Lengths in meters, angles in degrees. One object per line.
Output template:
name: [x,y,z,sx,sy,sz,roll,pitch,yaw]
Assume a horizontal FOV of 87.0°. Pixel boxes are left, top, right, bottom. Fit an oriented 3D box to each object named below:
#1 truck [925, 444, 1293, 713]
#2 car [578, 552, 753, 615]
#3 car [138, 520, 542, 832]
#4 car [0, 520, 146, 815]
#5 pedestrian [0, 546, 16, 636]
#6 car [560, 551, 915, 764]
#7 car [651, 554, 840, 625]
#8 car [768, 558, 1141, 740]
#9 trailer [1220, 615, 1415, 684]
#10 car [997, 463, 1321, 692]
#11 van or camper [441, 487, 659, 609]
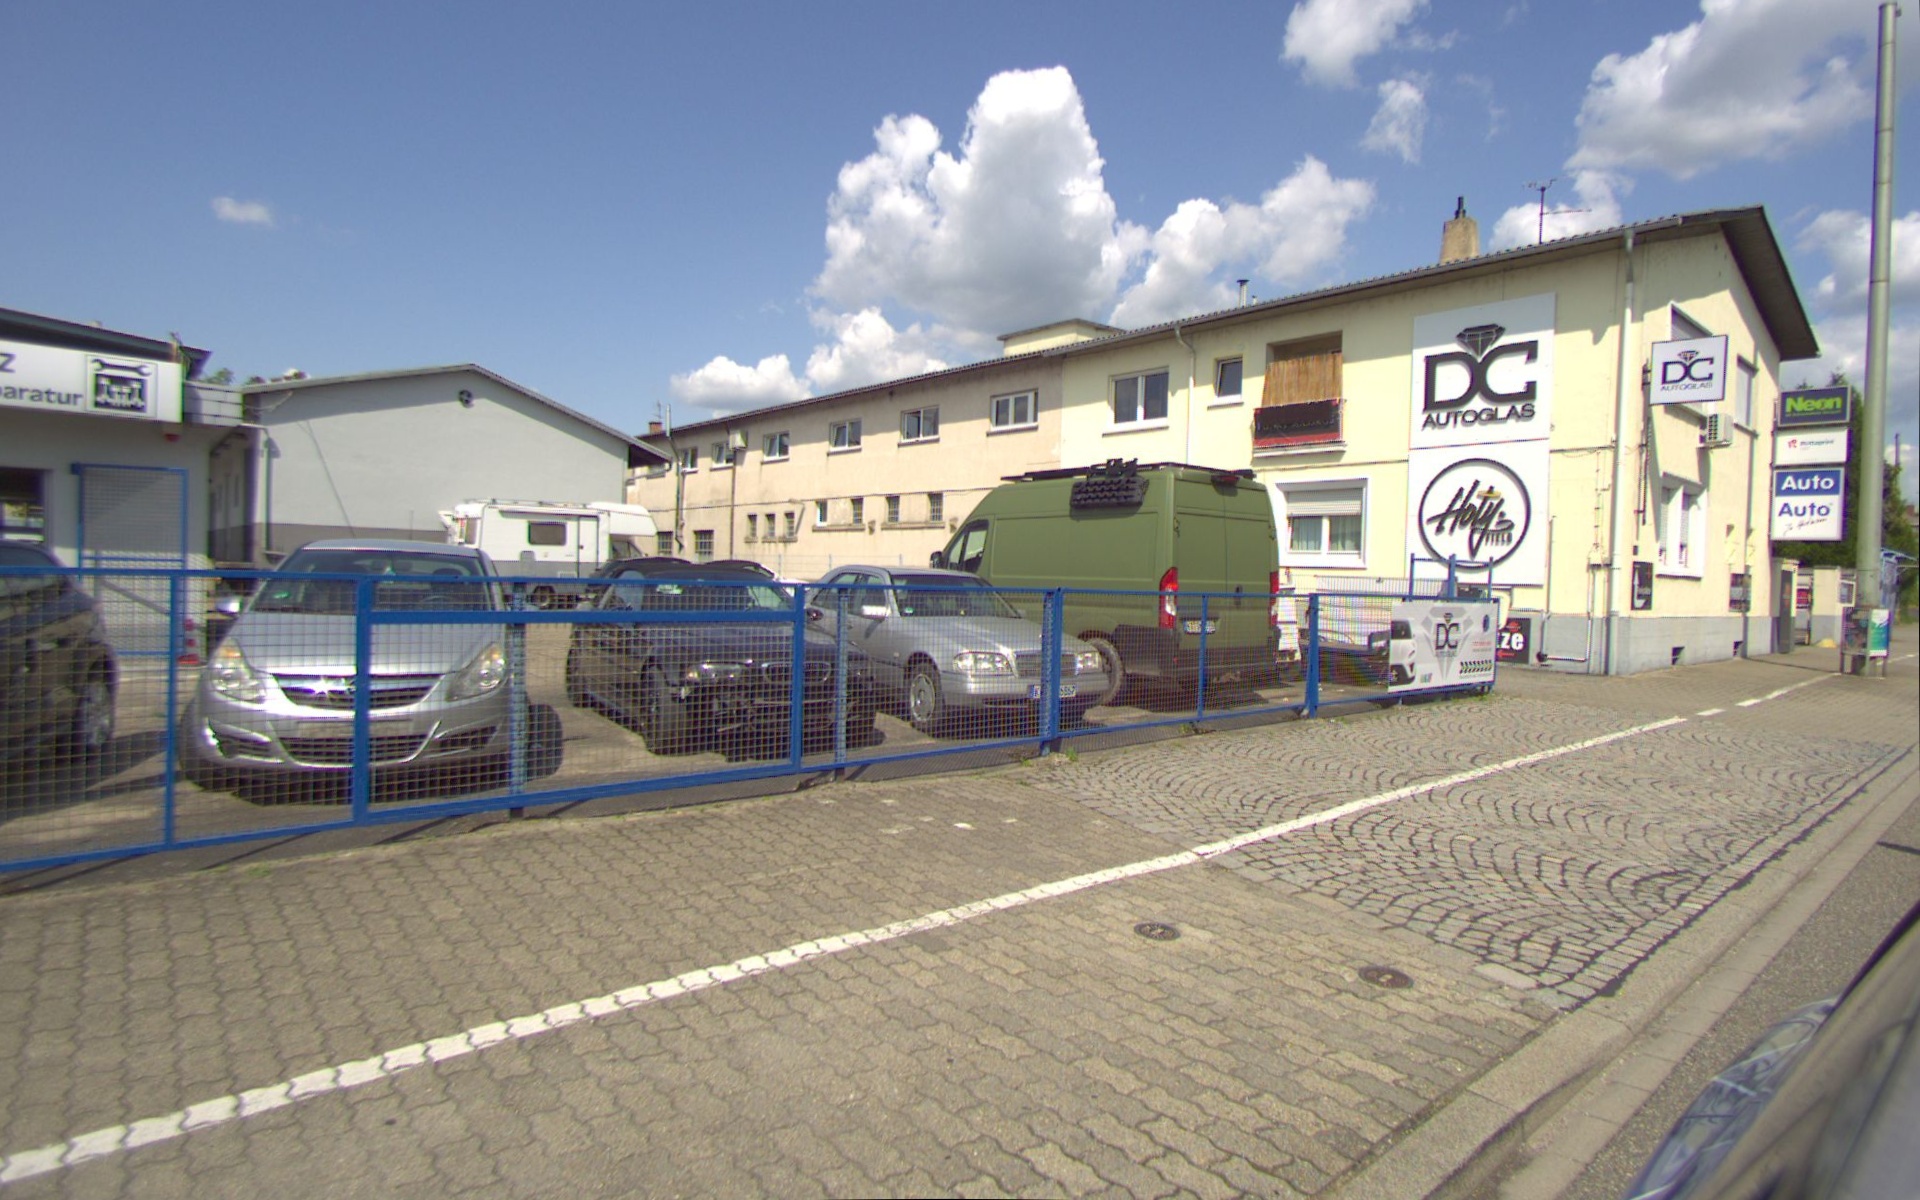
truck: [1.625,-0.286,12.147,2.033,2.639,3.996,1,2,-40]
car: [-7.477,-0.411,25.891,3.939,1.497,1.719,0,2,-41]
car: [-3.949,0.301,7.104,1.766,1.497,4.158,1,2,-24]
car: [-5.745,0.322,5.036,1.685,1.497,4.012,1,2,-25]
pedestrian: [-13.257,-0.130,13.843,0.479,1.228,0.501,1,1,-42]
car: [-2.123,0.309,8.748,1.768,1.403,3.837,1,2,-32]
car: [-4.924,-0.247,23.521,3.939,1.497,1.719,0,2,-41]
car: [-0.294,0.318,10.207,1.768,1.413,4.216,1,2,-33]
trailer: [5.084,0.669,14.530,1.245,0.776,2.330,0,2,-39]
car: [2.614,-0.346,14.144,1.771,2.702,4.208,1,2,-40]
van or camper: [-11.005,-1.324,27.370,4.971,2.999,2.284,0,2,-42]
